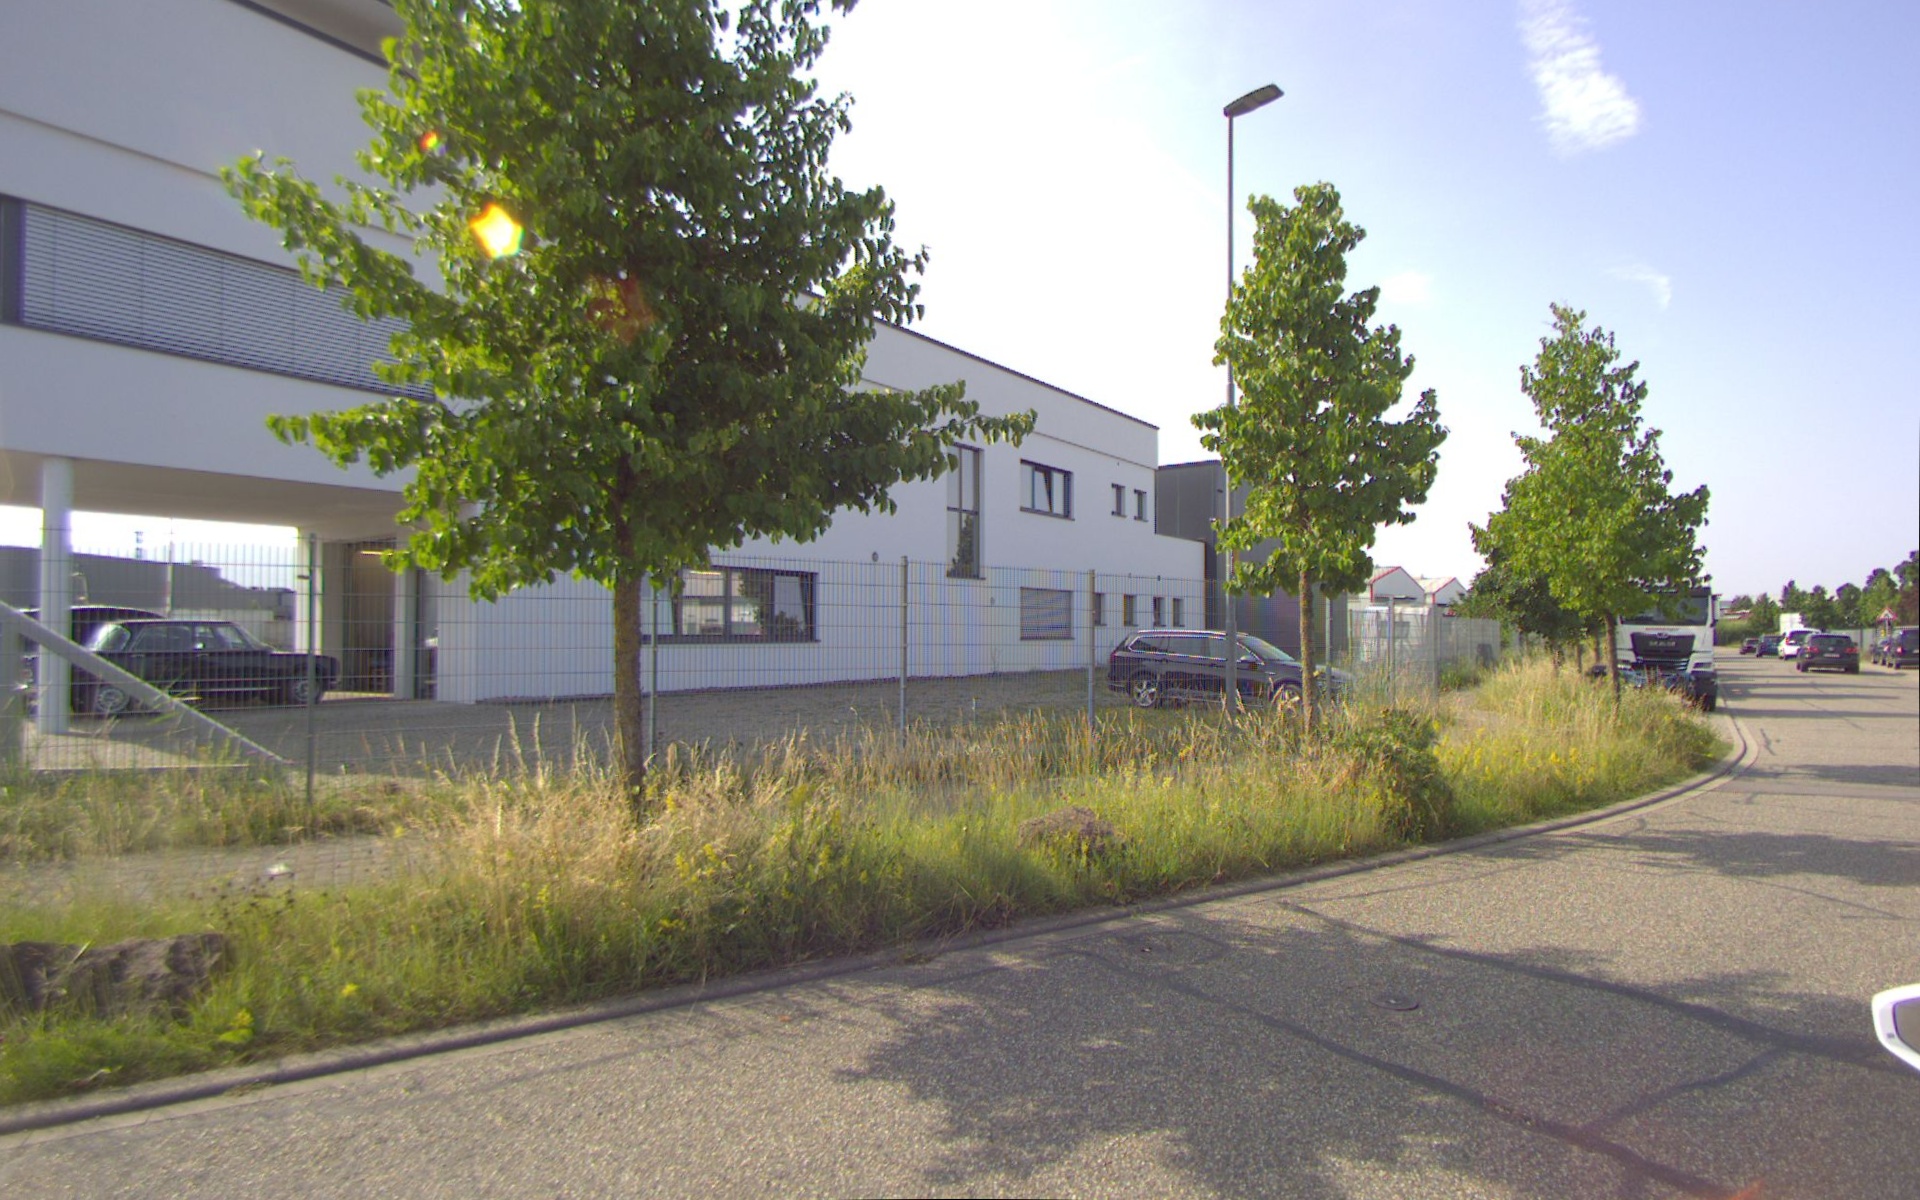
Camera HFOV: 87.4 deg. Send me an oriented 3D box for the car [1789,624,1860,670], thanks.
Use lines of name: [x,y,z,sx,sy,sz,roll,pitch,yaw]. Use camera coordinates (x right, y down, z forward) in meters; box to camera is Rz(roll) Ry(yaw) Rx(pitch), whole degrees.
car: [37.521,2.008,43.687,1.968,1.828,3.985,-2,-1,36]

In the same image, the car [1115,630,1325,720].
car: [4.769,1.312,18.556,3.446,1.473,1.592,0,-1,35]

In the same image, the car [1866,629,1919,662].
car: [47.209,2.277,50.737,1.797,1.468,3.785,-6,-4,38]

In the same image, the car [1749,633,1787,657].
car: [59.079,3.253,73.502,1.968,1.661,3.986,-1,-2,36]

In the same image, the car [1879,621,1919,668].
car: [43.970,2.002,46.391,1.797,2.003,3.983,-6,-4,38]

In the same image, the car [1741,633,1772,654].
car: [71.081,3.874,89.633,1.968,1.795,3.986,-1,-2,36]

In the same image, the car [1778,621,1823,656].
car: [49.925,2.253,59.650,1.971,1.925,4.445,-1,-1,41]

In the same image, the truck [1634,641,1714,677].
truck: [29.430,2.360,41.411,2.491,1.282,6.504,-2,-2,36]

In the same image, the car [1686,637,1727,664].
car: [42.927,2.885,57.709,1.788,1.446,3.984,-2,-2,38]

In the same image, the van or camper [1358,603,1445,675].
van or camper: [17.102,1.488,38.771,2.274,2.594,4.940,-1,-2,33]

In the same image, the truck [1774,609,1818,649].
truck: [80.290,2.820,96.581,2.852,3.633,8.028,-3,-3,38]

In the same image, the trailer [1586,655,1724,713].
trailer: [17.068,1.970,24.668,2.540,1.114,5.183,-1,-2,36]

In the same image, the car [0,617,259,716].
car: [-14.552,1.073,17.057,1.839,1.507,3.985,-1,-2,37]

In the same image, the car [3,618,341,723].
car: [-12.161,1.022,15.743,1.538,1.434,3.907,-1,-2,37]

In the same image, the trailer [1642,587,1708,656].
trailer: [50.000,1.581,70.072,3.360,4.397,13.868,-2,-2,37]

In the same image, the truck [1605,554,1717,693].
truck: [24.504,0.844,34.778,2.593,3.981,12.868,-1,-2,37]

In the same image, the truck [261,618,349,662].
truck: [-39.606,2.420,60.800,3.922,2.547,2.000,0,-2,-3]
